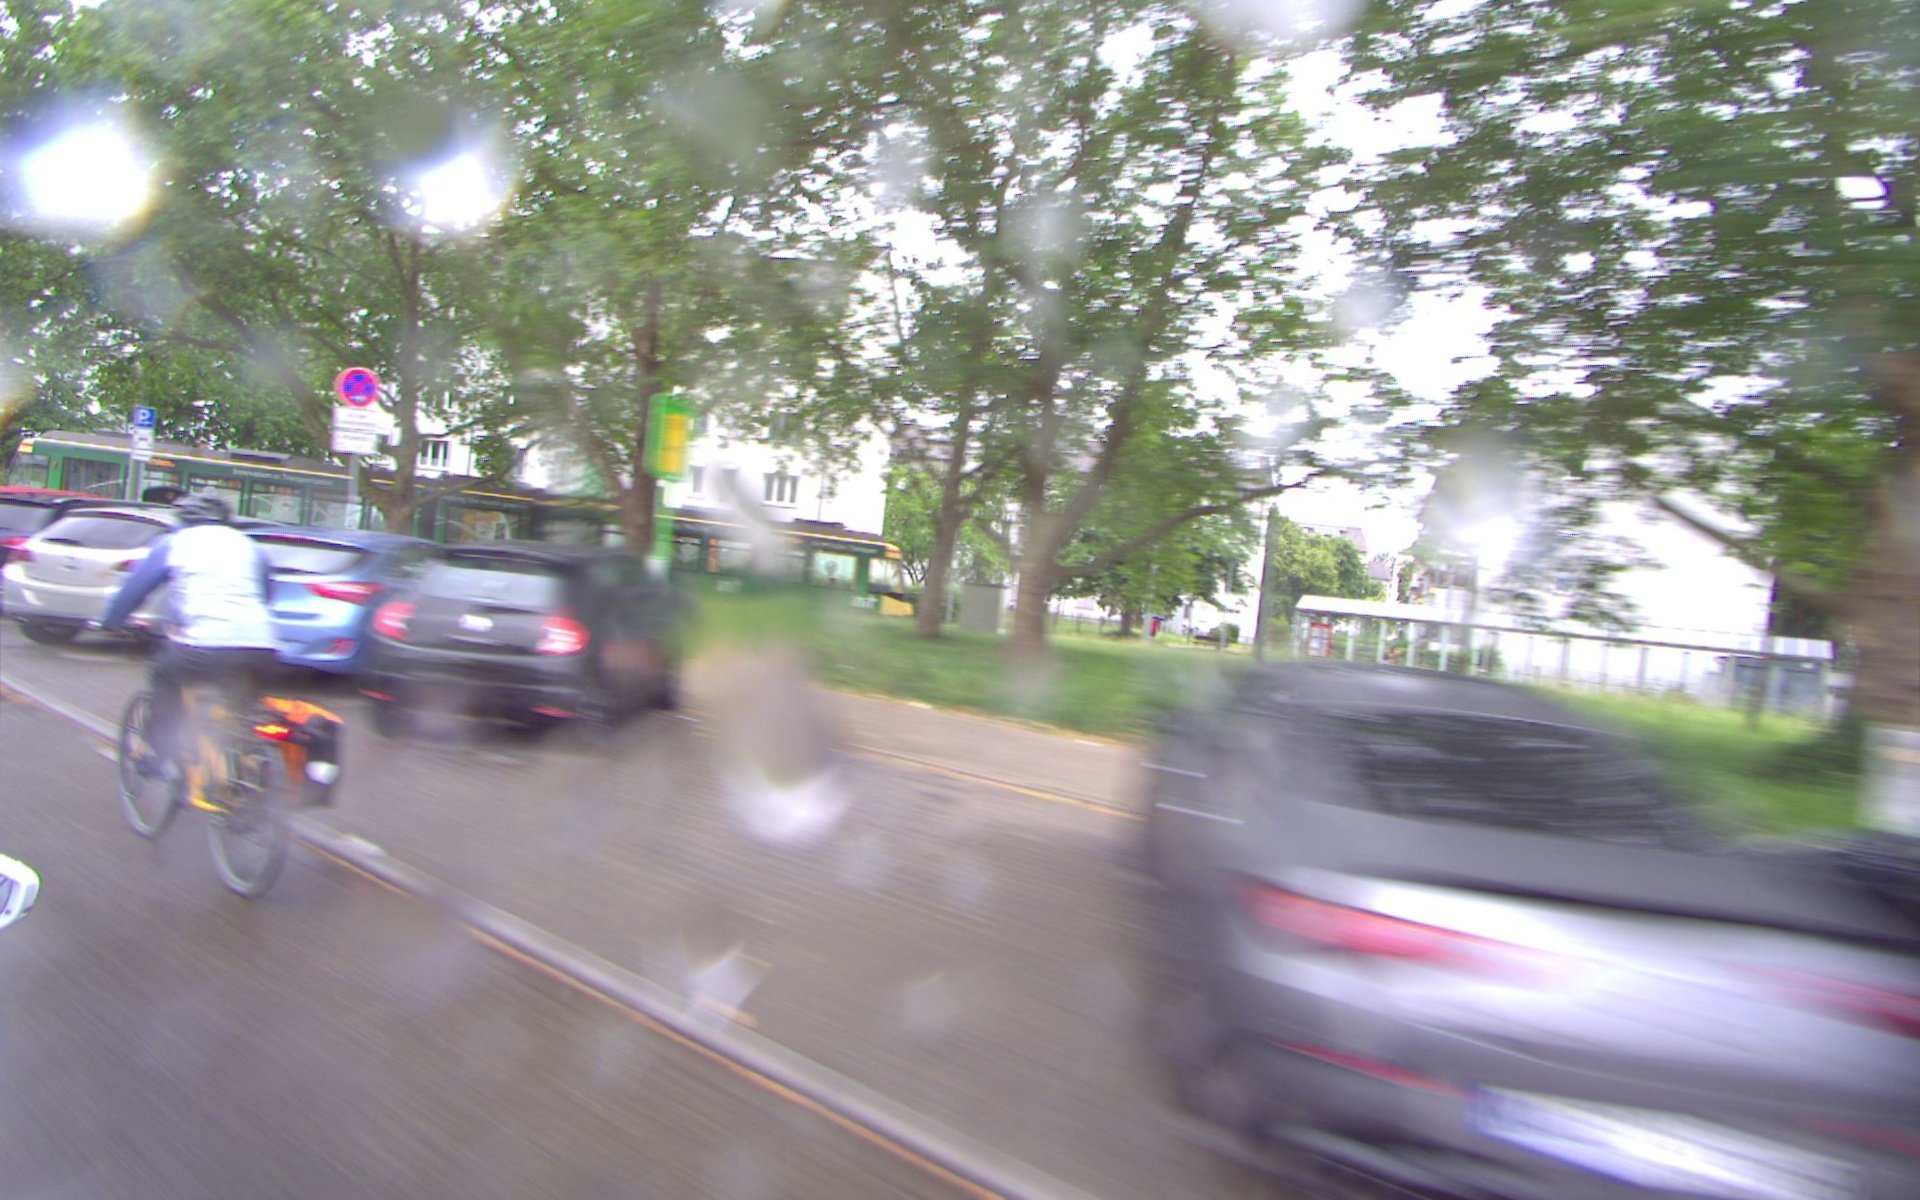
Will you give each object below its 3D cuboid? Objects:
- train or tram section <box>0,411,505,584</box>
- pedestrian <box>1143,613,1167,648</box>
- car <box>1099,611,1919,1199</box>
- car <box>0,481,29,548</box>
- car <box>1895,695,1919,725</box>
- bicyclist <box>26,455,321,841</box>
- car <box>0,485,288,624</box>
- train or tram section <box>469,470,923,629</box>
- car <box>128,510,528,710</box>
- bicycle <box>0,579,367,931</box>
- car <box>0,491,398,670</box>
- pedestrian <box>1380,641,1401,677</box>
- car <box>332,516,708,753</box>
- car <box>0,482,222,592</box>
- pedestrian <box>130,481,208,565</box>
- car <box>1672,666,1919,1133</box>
[{"bbox_3d":[-23.002,-3.173,32.740,14.484,3.633,2.711,6,0,-9],"label":"train or tram section"},{"bbox_3d":[11.130,1.748,57.345,1.167,1.907,1.054,5,0,14],"label":"pedestrian"},{"bbox_3d":[1.666,0.901,4.321,1.770,1.495,4.550,7,0,5],"label":"car"},{"bbox_3d":[-23.453,-2.122,22.158,1.963,1.502,3.999,8,1,3],"label":"car"},{"bbox_3d":[73.152,8.378,75.179,4.374,2.087,1.718,4,0,33],"label":"car"},{"bbox_3d":[-3.508,0.182,4.493,0.833,1.505,0.750,8,2,36],"label":"bicyclist"},{"bbox_3d":[-11.305,-0.627,13.314,1.831,1.500,4.120,6,2,3],"label":"car"},{"bbox_3d":[-8.781,-1.577,34.966,14.484,3.633,2.711,6,0,-9],"label":"train or tram section"},{"bbox_3d":[-6.072,-0.019,10.301,1.791,1.522,3.991,4,3,-5],"label":"car"},{"bbox_3d":[-3.511,0.573,4.480,1.897,1.087,0.752,8,2,37],"label":"bicycle"},{"bbox_3d":[-8.546,-0.235,11.450,1.924,1.573,3.997,5,1,1],"label":"car"},{"bbox_3d":[19.805,2.714,46.257,0.626,1.592,0.787,5,0,34],"label":"pedestrian"},{"bbox_3d":[-3.524,0.196,8.799,1.722,1.526,3.512,5,2,-1],"label":"car"},{"bbox_3d":[-13.777,-0.969,15.614,1.606,1.500,3.597,6,2,8],"label":"car"},{"bbox_3d":[-17.898,-1.737,22.770,1.063,1.736,1.044,7,2,34],"label":"pedestrian"},{"bbox_3d":[4.103,1.136,2.504,1.770,1.495,4.177,7,0,4],"label":"car"}]
